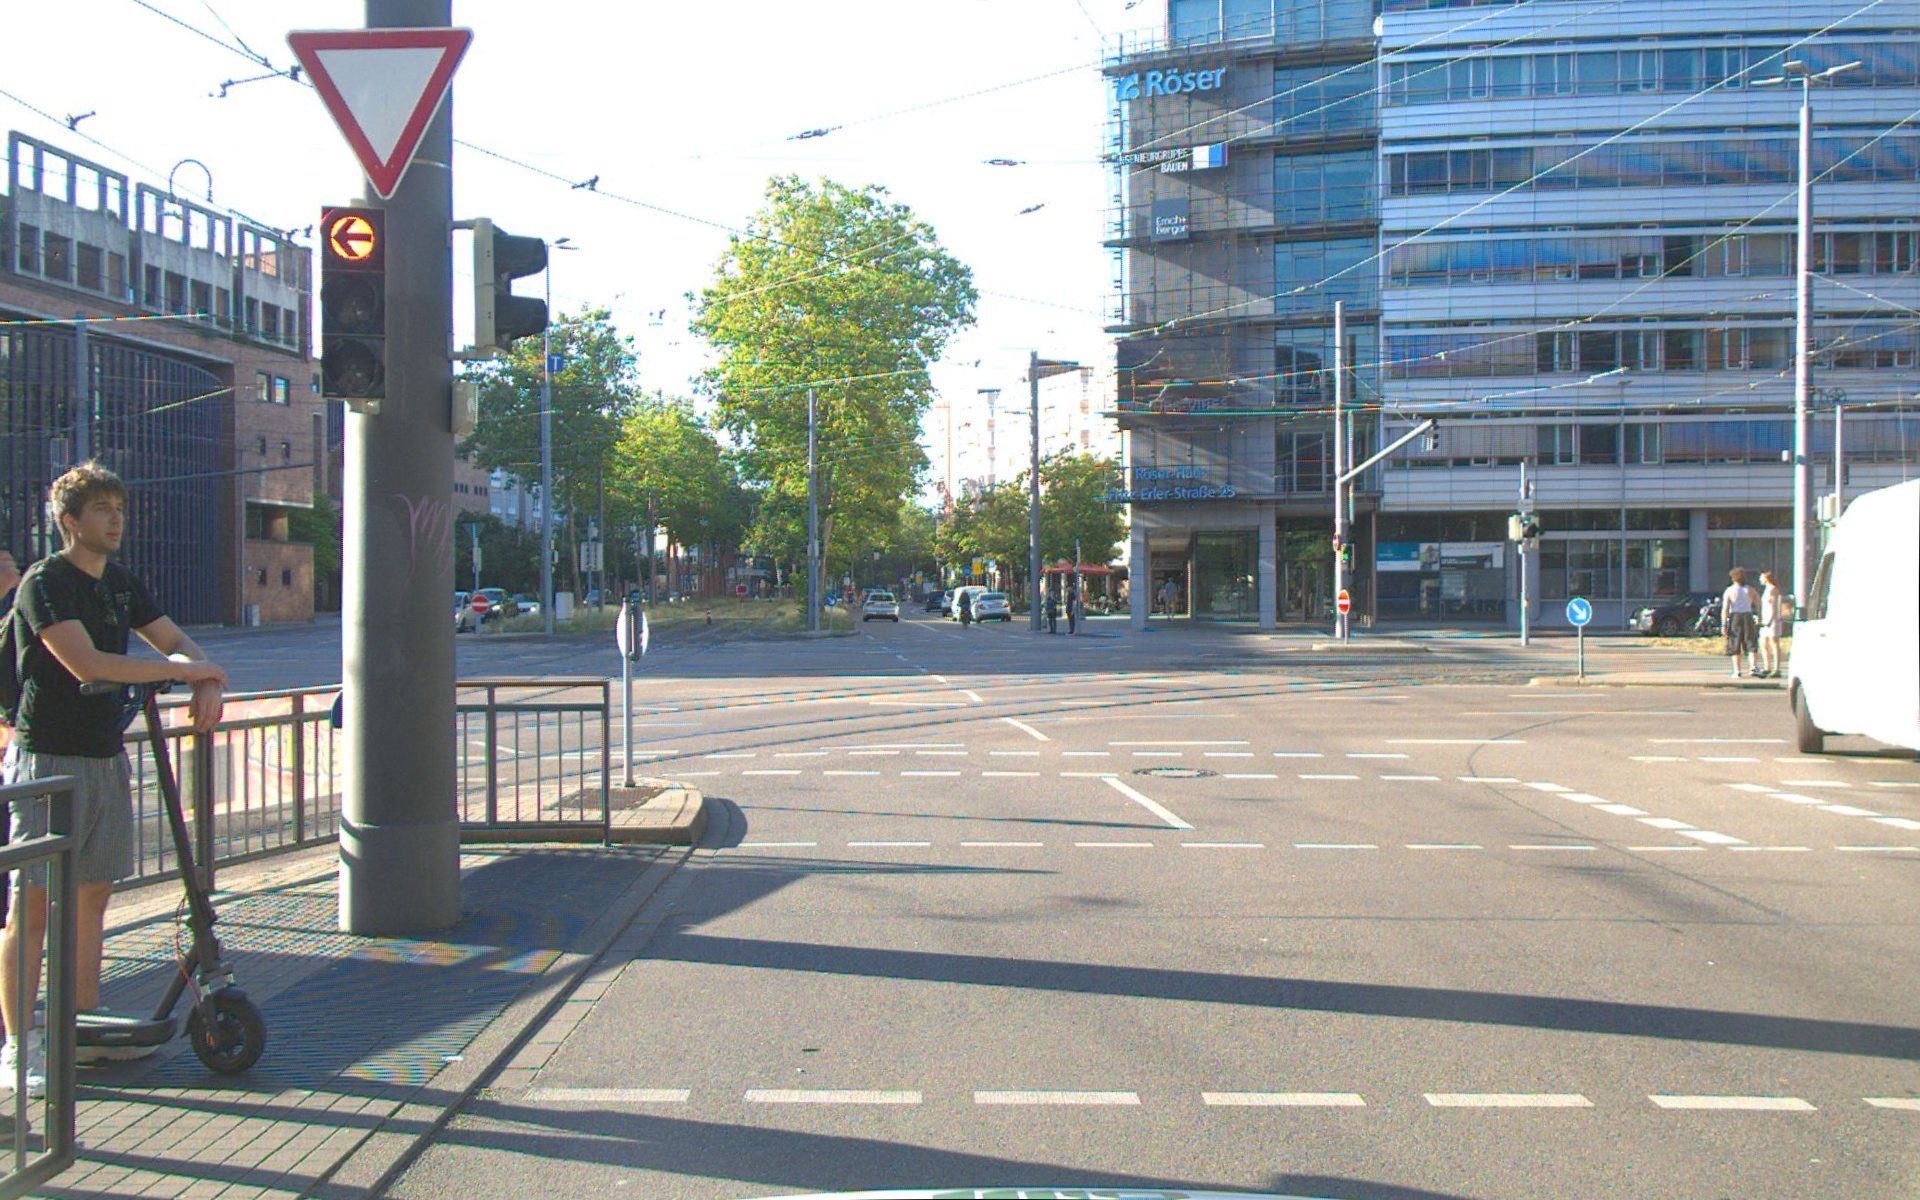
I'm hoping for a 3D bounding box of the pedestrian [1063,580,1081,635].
[{"bbox_3d":[4.250,0.289,62.790,0.574,2.049,0.620,1,-1,0],"label":"pedestrian"}]

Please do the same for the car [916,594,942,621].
[{"bbox_3d":[-2.364,0.572,126.625,1.953,2.049,3.999,1,0,-1],"label":"car"}]

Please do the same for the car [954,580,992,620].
[{"bbox_3d":[0.674,0.005,89.856,1.953,2.049,3.999,1,0,-1],"label":"car"}]

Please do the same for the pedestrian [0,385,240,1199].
[{"bbox_3d":[-2.606,0.479,4.189,1.143,1.917,0.854,-1,0,4],"label":"pedestrian"}]

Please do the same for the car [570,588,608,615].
[{"bbox_3d":[-29.509,0.104,131.737,1.837,2.049,4.472,-1,0,2],"label":"car"}]

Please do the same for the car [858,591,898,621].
[{"bbox_3d":[-4.076,0.265,82.816,1.712,1.443,4.001,0,1,1],"label":"car"}]

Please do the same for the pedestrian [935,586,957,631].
[{"bbox_3d":[-0.562,0.323,65.213,0.852,1.737,0.793,1,-1,-1],"label":"pedestrian"}]

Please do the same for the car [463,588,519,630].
[{"bbox_3d":[-21.112,0.401,74.565,1.787,1.821,3.994,-1,0,-7],"label":"car"}]

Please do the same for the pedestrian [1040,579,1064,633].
[{"bbox_3d":[3.592,0.237,64.394,0.832,2.049,0.707,1,-1,-3],"label":"pedestrian"}]

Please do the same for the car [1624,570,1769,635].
[{"bbox_3d":[24.374,0.085,54.825,3.906,2.049,2.000,1,0,-1],"label":"car"}]

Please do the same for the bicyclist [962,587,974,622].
[{"bbox_3d":[0.345,0.200,69.281,0.477,1.465,0.615,1,-1,-1],"label":"bicyclist"}]

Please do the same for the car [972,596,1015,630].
[{"bbox_3d":[1.646,0.635,82.792,1.988,1.624,3.999,1,0,-1],"label":"car"}]

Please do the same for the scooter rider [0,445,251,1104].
[{"bbox_3d":[-2.627,0.507,5.099,0.554,1.885,0.680,-1,-2,4],"label":"scooter rider"}]

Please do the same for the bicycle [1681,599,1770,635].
[{"bbox_3d":[23.044,0.499,49.835,2.359,1.040,0.637,-1,0,4],"label":"bicycle"}]

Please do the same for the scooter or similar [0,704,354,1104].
[{"bbox_3d":[-2.582,0.896,5.081,1.177,1.100,0.648,-1,0,3],"label":"scooter or similar"}]

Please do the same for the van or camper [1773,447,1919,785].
[{"bbox_3d":[8.715,0.111,13.782,1.957,2.660,6.504,-1,0,12],"label":"van or camper"}]

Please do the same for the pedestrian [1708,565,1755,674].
[{"bbox_3d":[12.898,0.324,27.638,0.664,1.789,0.741,-1,0,28],"label":"pedestrian"}]

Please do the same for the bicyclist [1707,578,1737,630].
[{"bbox_3d":[22.965,0.123,49.843,0.649,1.529,0.613,-1,0,4],"label":"bicyclist"}]

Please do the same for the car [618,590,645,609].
[{"bbox_3d":[-32.689,-0.053,164.583,1.871,1.814,3.999,-1,0,-1],"label":"car"}]

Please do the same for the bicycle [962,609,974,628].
[{"bbox_3d":[0.339,0.780,69.541,0.481,0.802,1.861,1,0,-1],"label":"bicycle"}]

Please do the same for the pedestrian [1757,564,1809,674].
[{"bbox_3d":[13.700,0.312,27.543,0.724,1.789,0.685,-1,0,25],"label":"pedestrian"}]

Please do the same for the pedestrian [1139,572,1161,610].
[{"bbox_3d":[11.281,-0.528,98.244,1.285,2.228,1.171,1,0,5],"label":"pedestrian"}]

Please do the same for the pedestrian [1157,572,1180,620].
[{"bbox_3d":[8.898,-0.165,70.506,0.852,2.049,0.793,1,-2,-1],"label":"pedestrian"}]

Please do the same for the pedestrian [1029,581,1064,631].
[{"bbox_3d":[3.464,0.248,66.181,1.315,1.984,1.011,0,0,-1],"label":"pedestrian"}]

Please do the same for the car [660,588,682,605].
[{"bbox_3d":[-32.003,-0.366,183.326,1.807,1.814,3.999,-1,0,-1],"label":"car"}]

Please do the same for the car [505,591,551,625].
[{"bbox_3d":[-21.661,0.420,82.973,1.644,1.635,3.994,1,0,-7],"label":"car"}]

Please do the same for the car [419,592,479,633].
[{"bbox_3d":[-20.666,0.480,66.972,1.591,1.604,3.994,-1,0,-7],"label":"car"}]
